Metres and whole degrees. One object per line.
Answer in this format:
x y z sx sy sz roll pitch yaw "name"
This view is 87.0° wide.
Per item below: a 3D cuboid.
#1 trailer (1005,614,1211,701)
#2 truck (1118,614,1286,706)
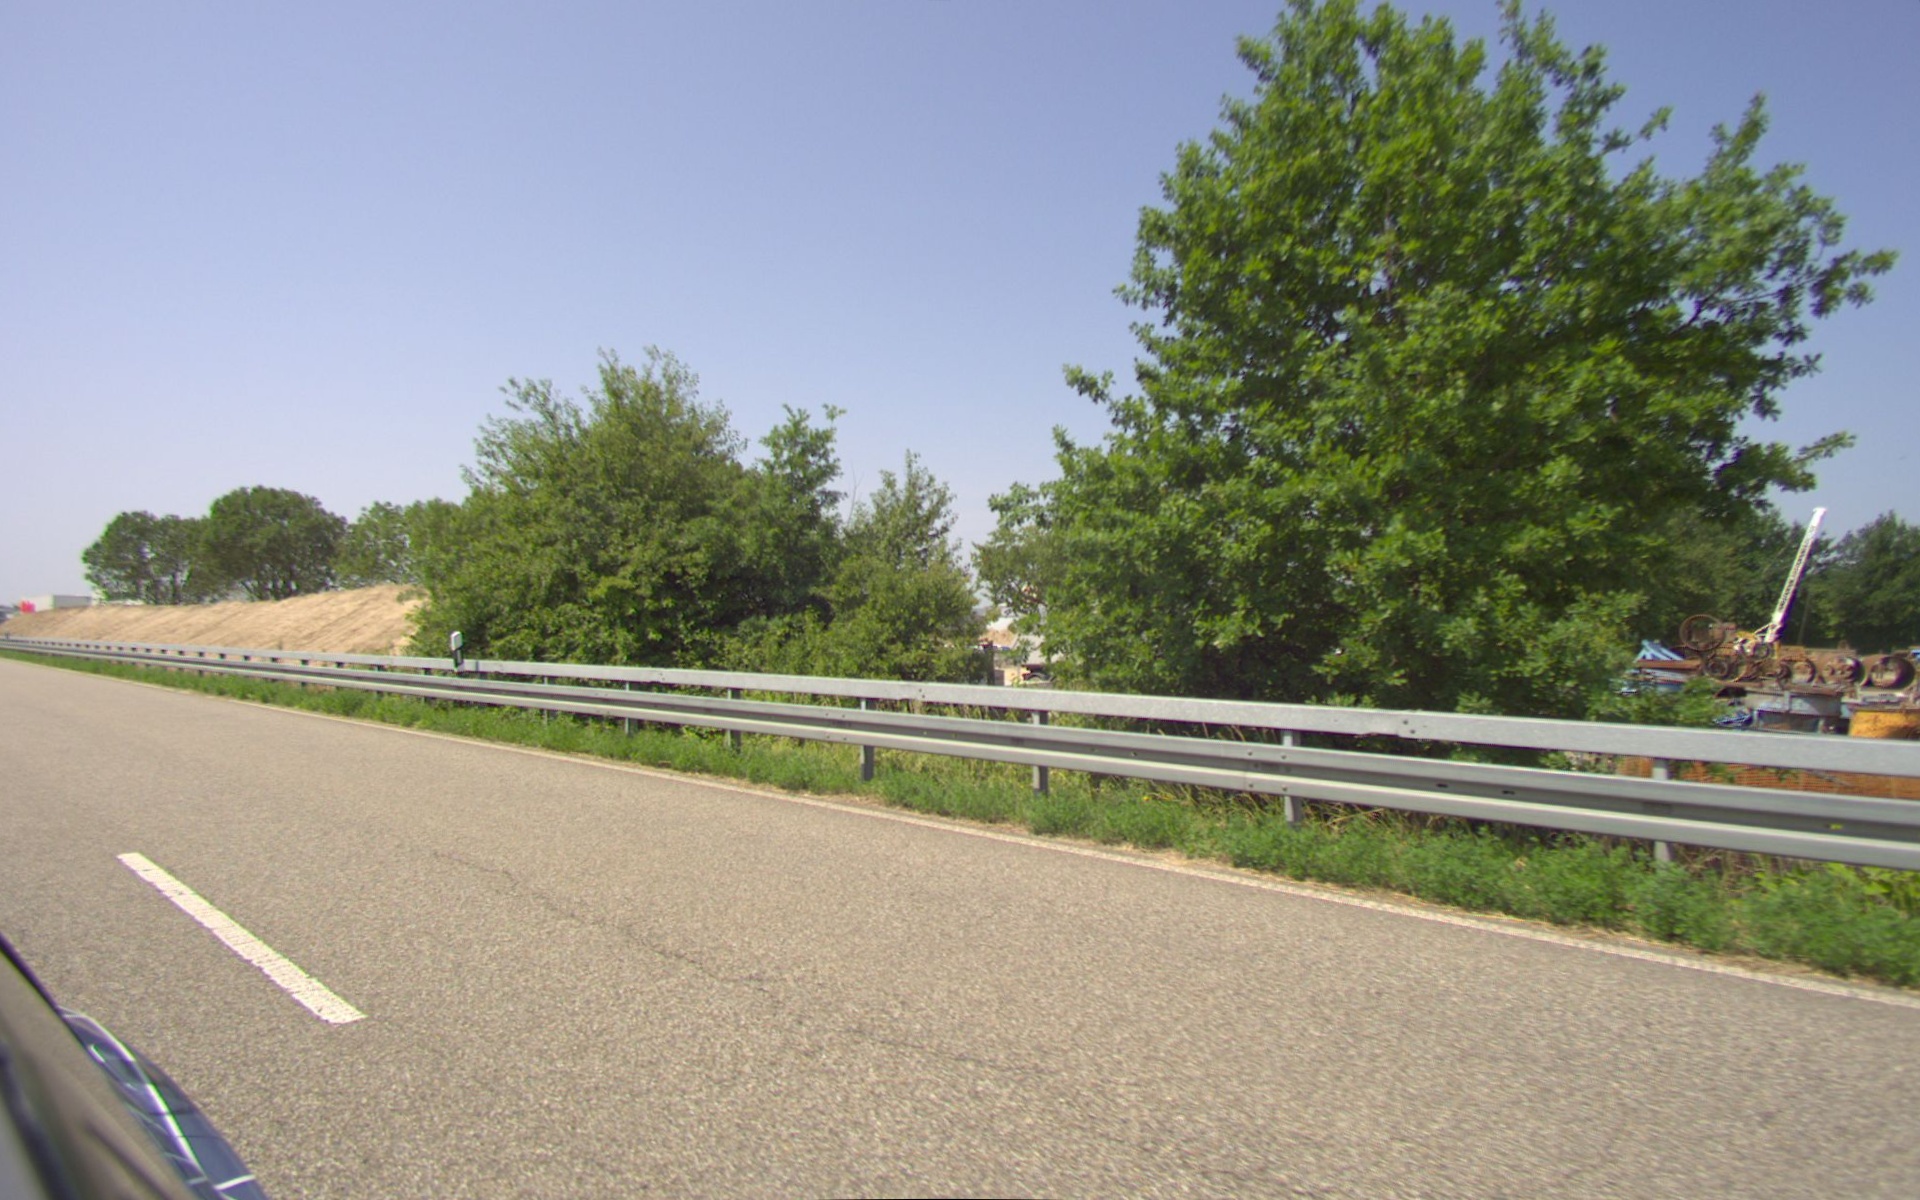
5.977 2.243 42.414 8.812 3.248 2.412 -1 0 45 "trailer"
9.247 2.187 39.146 2.411 3.248 5.887 -1 0 -45 "truck"
